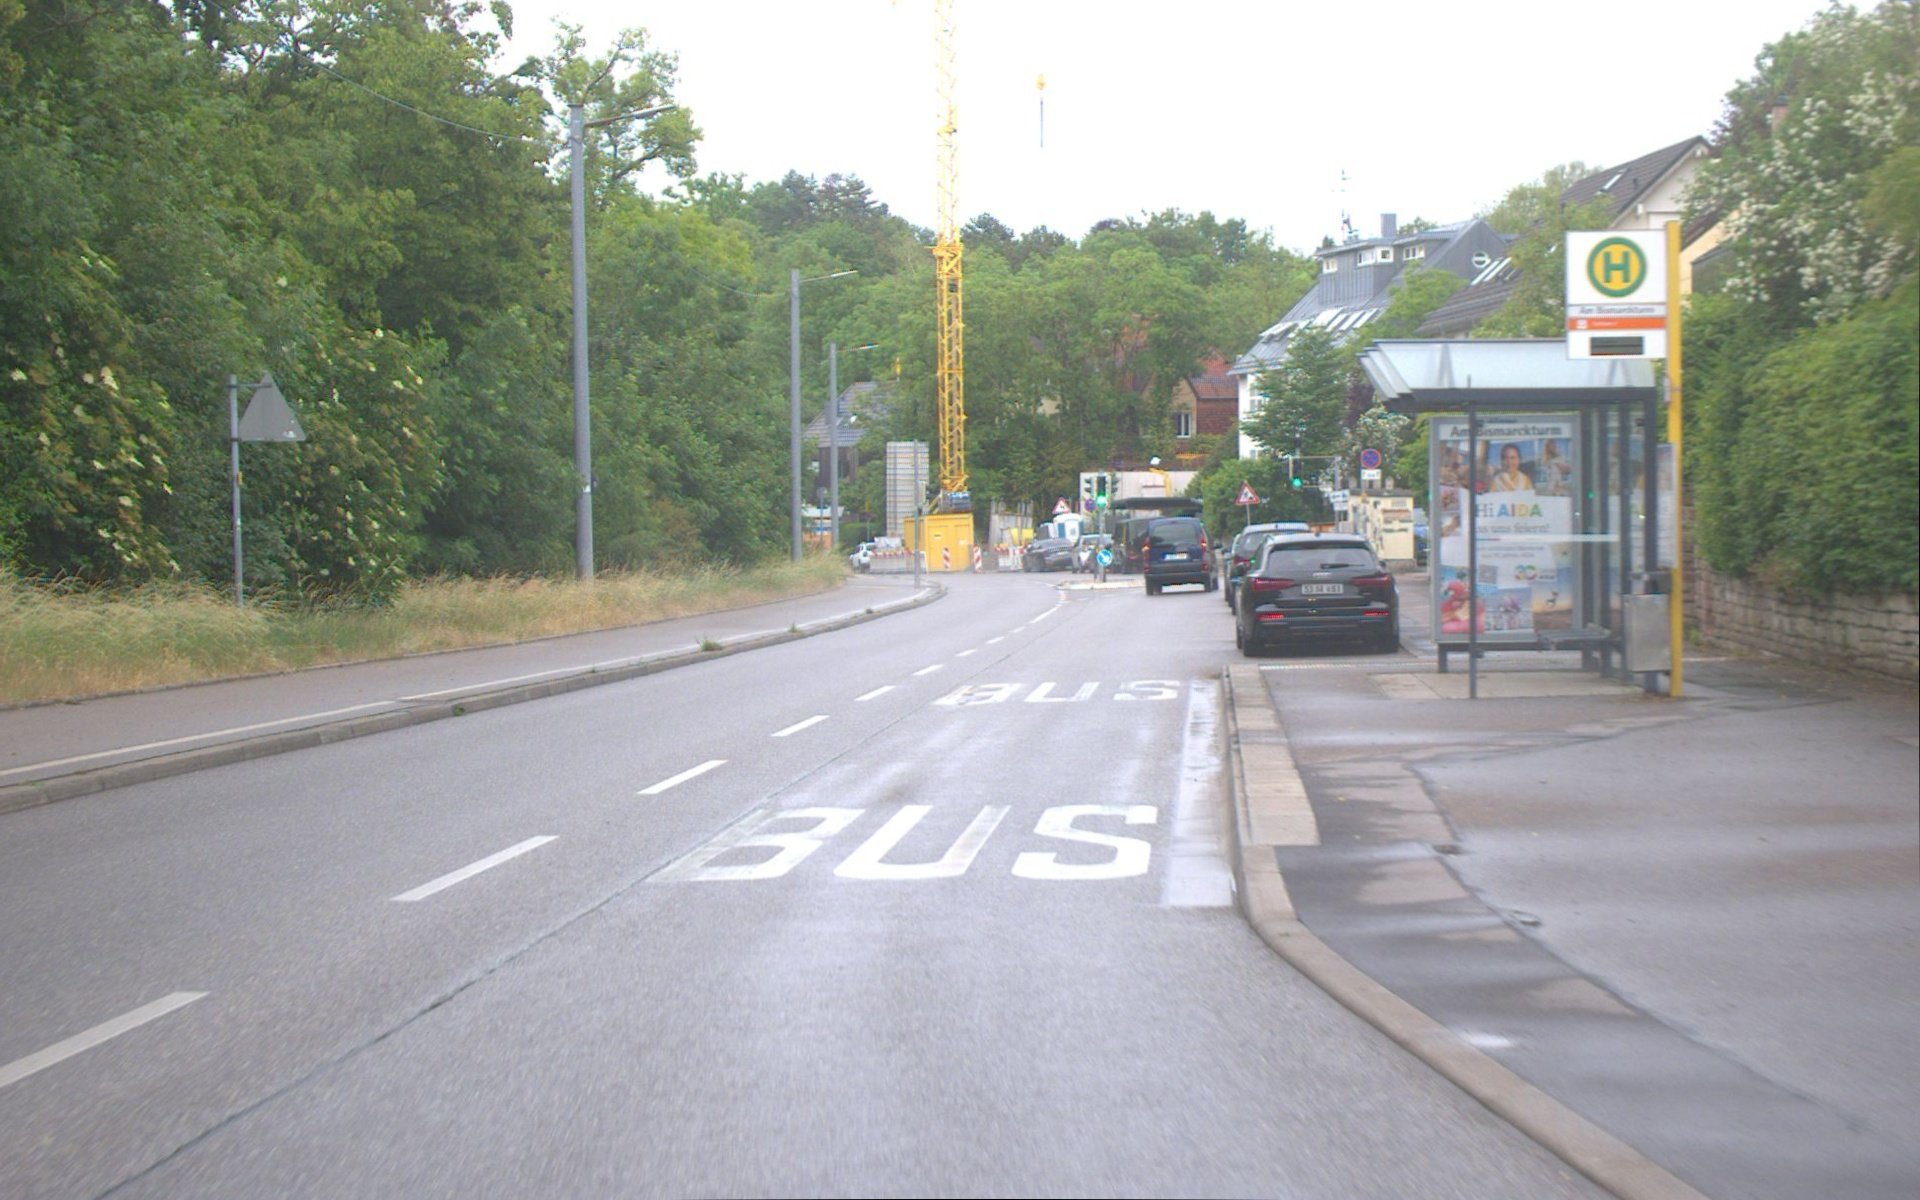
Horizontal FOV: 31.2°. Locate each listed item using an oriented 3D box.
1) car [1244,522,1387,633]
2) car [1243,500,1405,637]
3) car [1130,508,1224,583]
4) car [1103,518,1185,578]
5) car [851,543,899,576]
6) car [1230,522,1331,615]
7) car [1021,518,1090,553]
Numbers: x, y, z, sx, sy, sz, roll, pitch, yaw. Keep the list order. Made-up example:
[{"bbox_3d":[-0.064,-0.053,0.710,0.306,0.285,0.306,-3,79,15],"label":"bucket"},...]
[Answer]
[{"bbox_3d":[4.837,-0.296,46.726,1.813,1.393,4.102,-2,0,6],"label":"car"},{"bbox_3d":[4.476,-0.374,42.302,1.830,1.542,4.629,-2,0,6],"label":"car"},{"bbox_3d":[5.276,-1.311,84.172,1.932,1.745,4.000,1,0,-1],"label":"car"},{"bbox_3d":[6.633,-1.866,124.378,1.993,2.007,4.957,-4,1,-7],"label":"car"},{"bbox_3d":[-4.711,-2.229,189.914,1.744,1.700,4.503,-4,1,-13],"label":"car"},{"bbox_3d":[5.838,-0.610,62.982,1.730,1.562,4.521,-2,1,5],"label":"car"},{"bbox_3d":[4.097,-2.789,147.900,1.931,1.417,4.839,0,1,-11],"label":"car"}]
